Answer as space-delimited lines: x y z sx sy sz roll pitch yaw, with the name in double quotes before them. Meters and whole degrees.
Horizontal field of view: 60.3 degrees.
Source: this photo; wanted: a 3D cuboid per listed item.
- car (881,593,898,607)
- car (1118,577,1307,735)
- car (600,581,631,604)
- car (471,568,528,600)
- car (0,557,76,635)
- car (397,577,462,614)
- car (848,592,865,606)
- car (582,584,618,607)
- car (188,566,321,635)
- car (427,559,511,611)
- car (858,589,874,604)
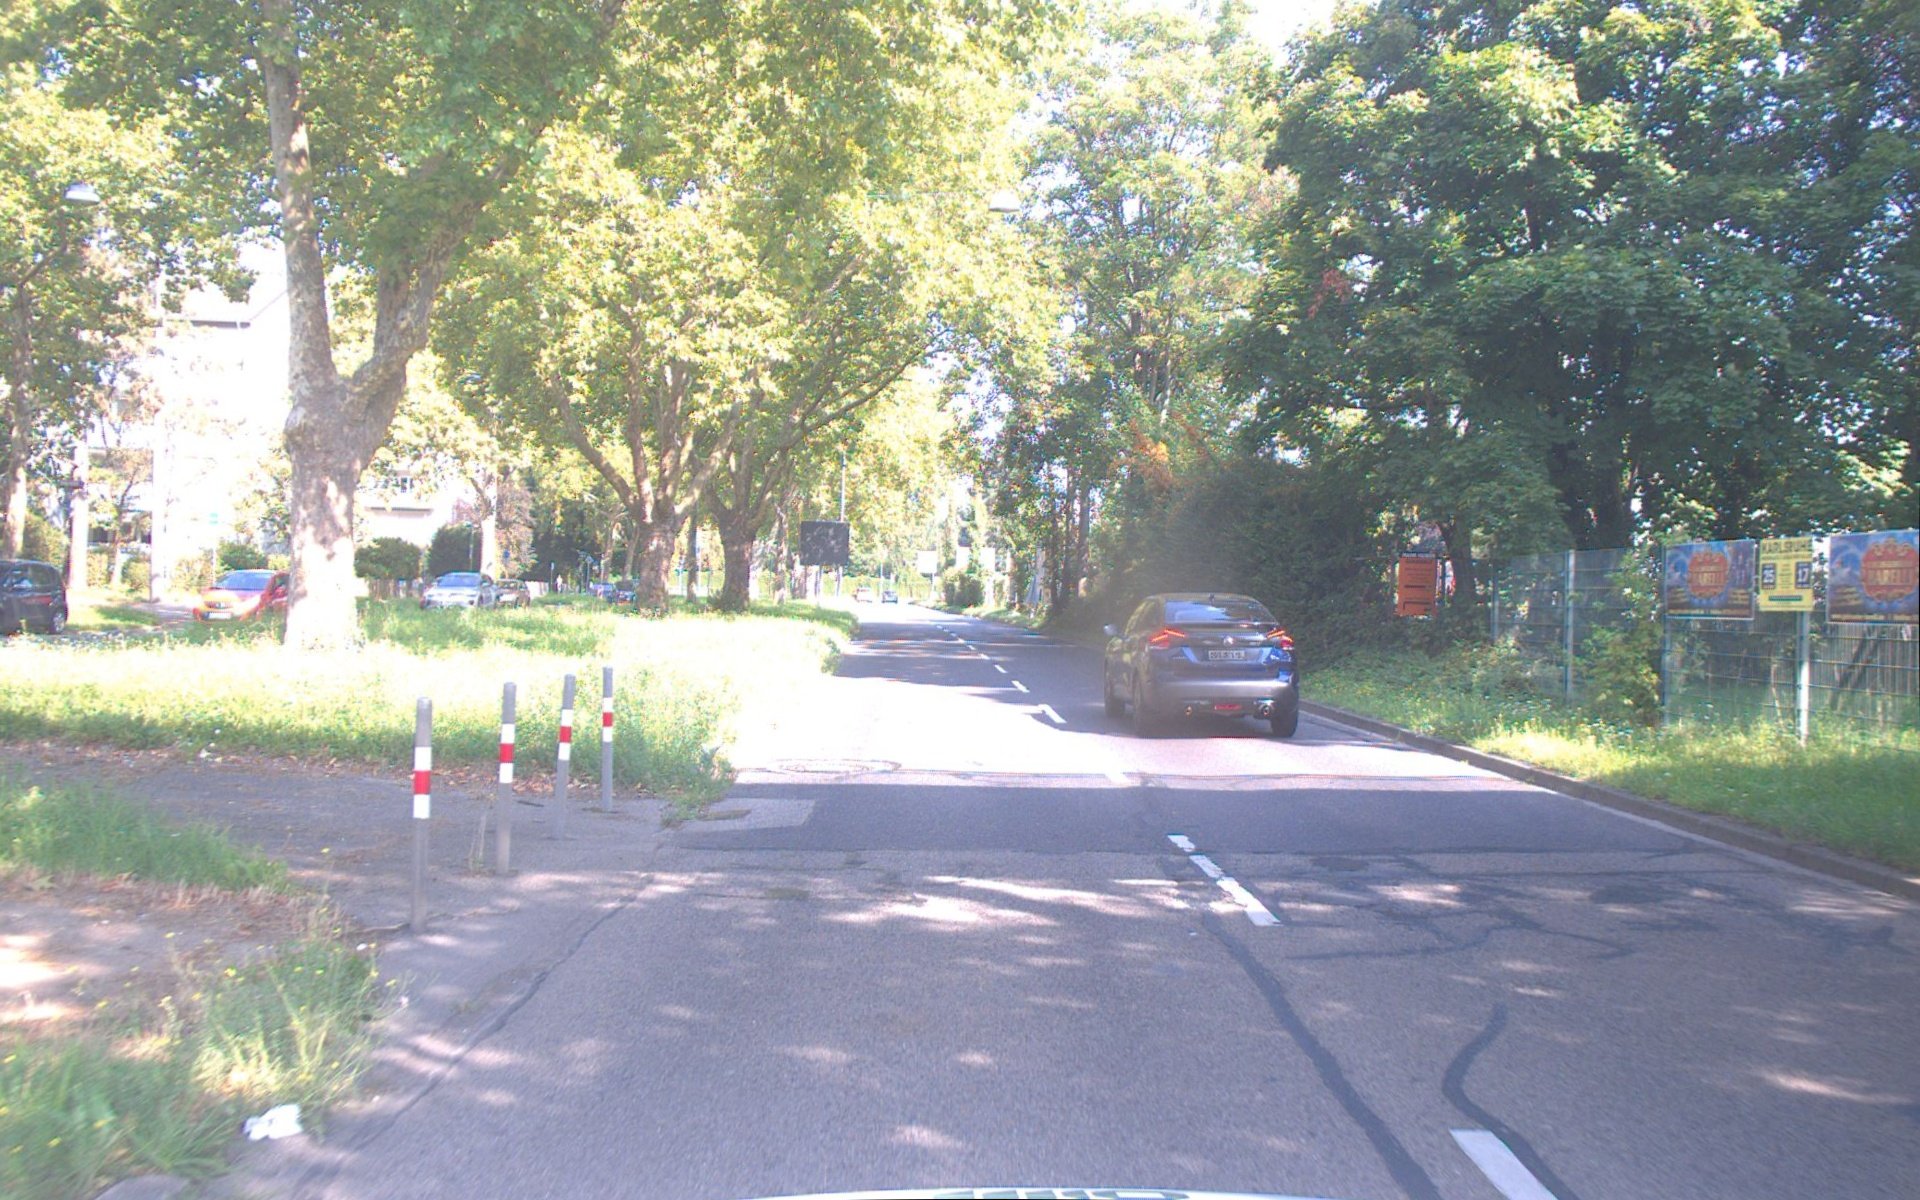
"car" -7.890 0.021 184.386 1.762 1.425 3.996 2 0 -5
"car" 2.819 0.582 19.250 1.611 1.616 4.255 1 0 1
"car" -25.452 -0.549 122.344 1.665 1.595 3.997 1 0 -4
"car" -22.668 -0.784 81.577 1.766 1.455 4.062 2 0 -2
"car" -19.702 -0.099 33.367 1.491 1.559 3.865 1 0 3
"car" -22.221 -0.183 69.403 1.508 1.477 4.062 2 0 -2
"car" -11.576 -0.152 185.025 1.653 1.487 3.849 2 0 0
"car" -24.813 -0.321 114.082 1.665 1.534 4.537 1 0 -4
"car" -17.088 -0.004 40.264 1.657 1.559 4.067 1 0 -4
"car" -17.718 -0.547 59.870 1.766 1.750 4.718 1 0 -2
"car" -9.881 -0.334 173.667 1.654 1.487 3.997 2 0 -3
